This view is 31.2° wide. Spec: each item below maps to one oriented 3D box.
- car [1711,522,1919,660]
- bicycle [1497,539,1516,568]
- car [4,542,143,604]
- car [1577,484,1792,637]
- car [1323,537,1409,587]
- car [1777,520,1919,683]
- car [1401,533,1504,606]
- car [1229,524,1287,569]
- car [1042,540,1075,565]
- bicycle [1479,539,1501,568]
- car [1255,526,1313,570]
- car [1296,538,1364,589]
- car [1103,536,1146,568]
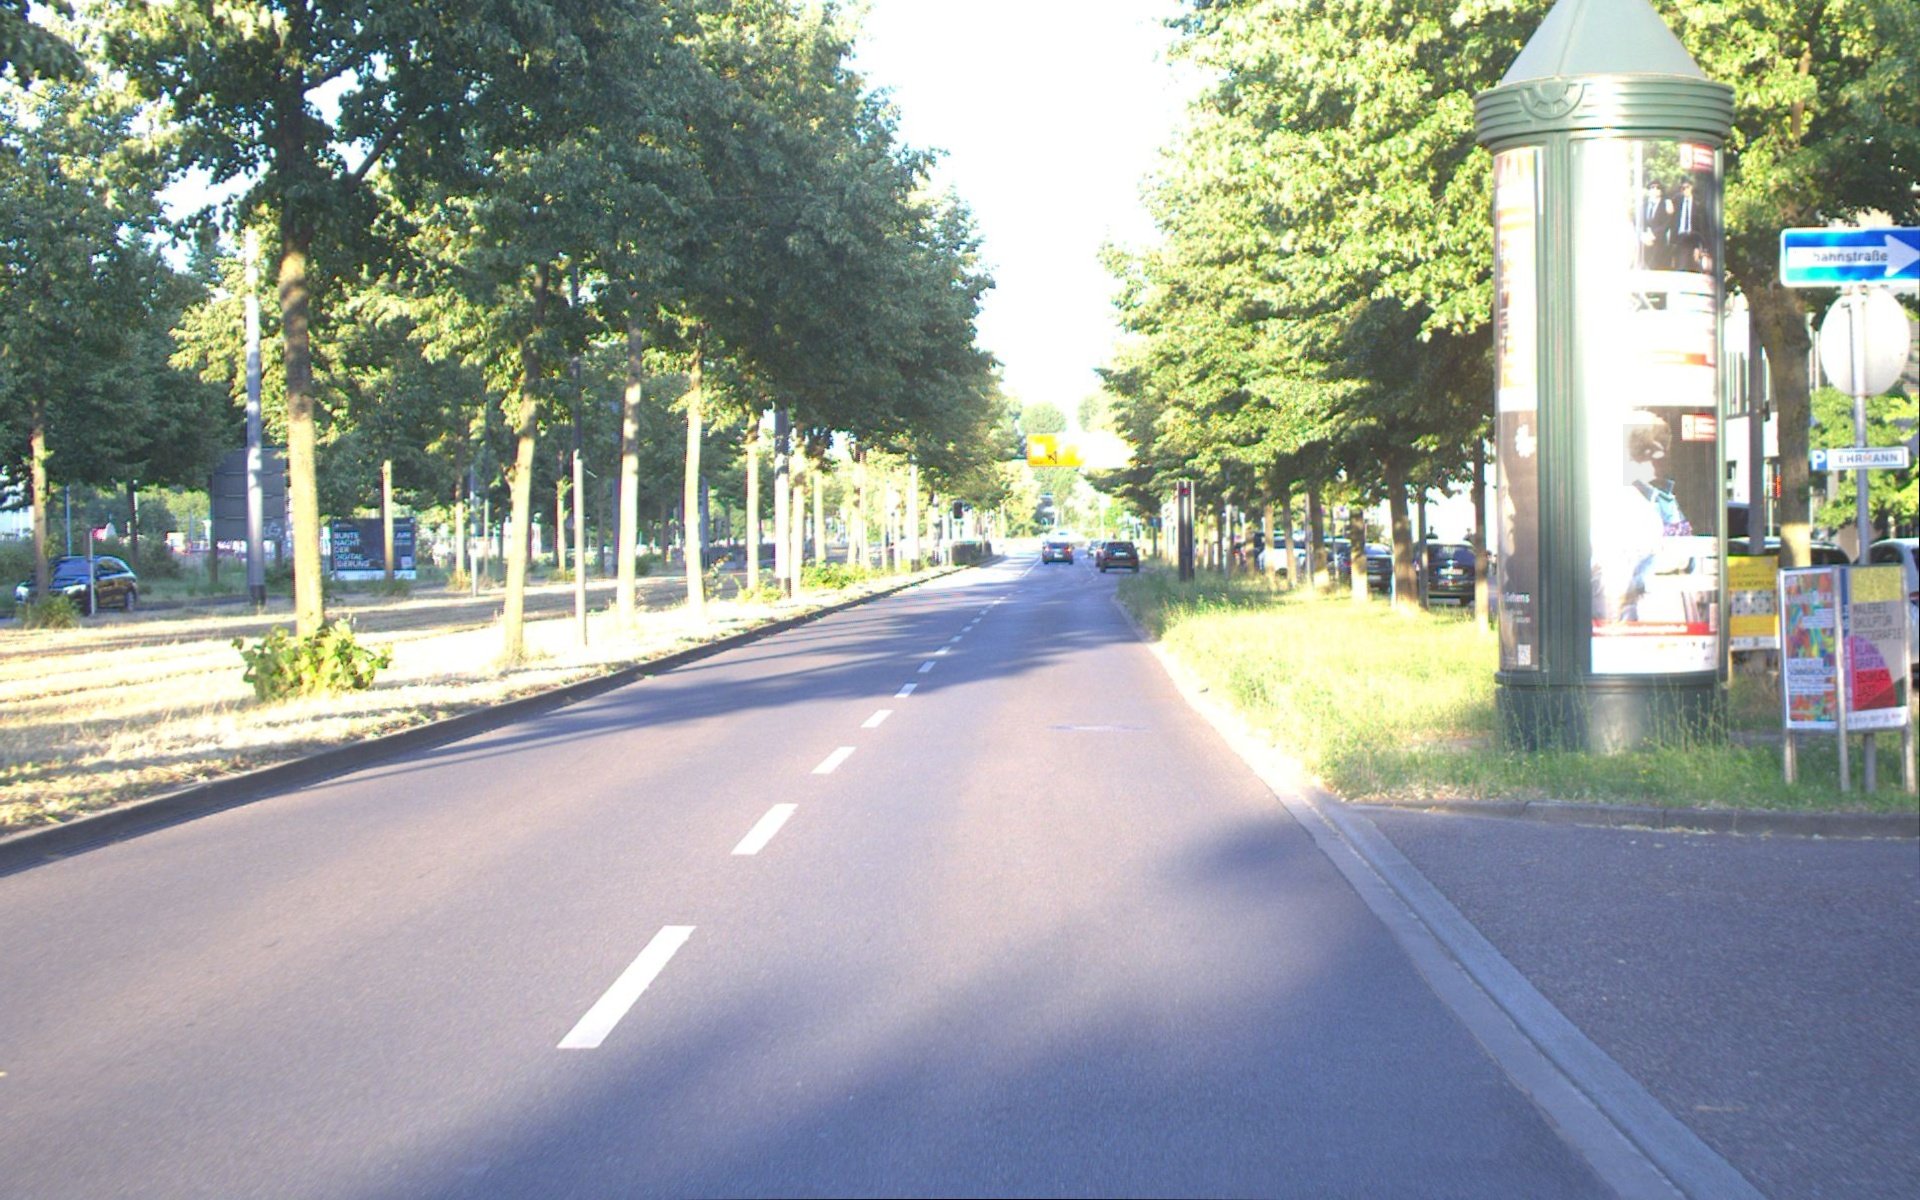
[{"bbox_3d":[10.054,-0.146,39.949,1.859,1.491,4.290,-1,1,2],"label":"car"},{"bbox_3d":[19.812,-1.677,124.683,0.470,1.036,1.806,-1,1,3],"label":"bicycle"},{"bbox_3d":[-21.318,-0.670,82.806,1.931,1.418,4.388,-1,1,4],"label":"car"},{"bbox_3d":[9.871,-0.562,47.224,1.986,1.982,4.932,0,1,1],"label":"car"},{"bbox_3d":[11.450,-1.083,97.219,1.852,1.362,4.834,-1,1,0],"label":"car"},{"bbox_3d":[9.649,-0.029,34.020,1.917,1.491,5.041,0,1,0],"label":"car"},{"bbox_3d":[10.918,-0.698,76.447,1.780,1.489,4.000,3,1,2],"label":"car"},{"bbox_3d":[12.488,-2.229,144.258,1.993,1.845,4.665,-1,1,0],"label":"car"},{"bbox_3d":[5.926,-2.860,207.106,1.912,1.481,4.000,0,1,1],"label":"car"},{"bbox_3d":[19.256,-1.694,124.978,0.594,1.036,1.892,-1,1,3],"label":"bicycle"},{"bbox_3d":[12.404,-2.005,131.847,1.994,1.637,4.878,0,1,3],"label":"car"},{"bbox_3d":[11.512,-1.167,107.202,1.709,1.510,3.759,2,1,1],"label":"car"},{"bbox_3d":[7.700,-2.258,161.623,1.912,1.481,4.000,0,1,1],"label":"car"}]
